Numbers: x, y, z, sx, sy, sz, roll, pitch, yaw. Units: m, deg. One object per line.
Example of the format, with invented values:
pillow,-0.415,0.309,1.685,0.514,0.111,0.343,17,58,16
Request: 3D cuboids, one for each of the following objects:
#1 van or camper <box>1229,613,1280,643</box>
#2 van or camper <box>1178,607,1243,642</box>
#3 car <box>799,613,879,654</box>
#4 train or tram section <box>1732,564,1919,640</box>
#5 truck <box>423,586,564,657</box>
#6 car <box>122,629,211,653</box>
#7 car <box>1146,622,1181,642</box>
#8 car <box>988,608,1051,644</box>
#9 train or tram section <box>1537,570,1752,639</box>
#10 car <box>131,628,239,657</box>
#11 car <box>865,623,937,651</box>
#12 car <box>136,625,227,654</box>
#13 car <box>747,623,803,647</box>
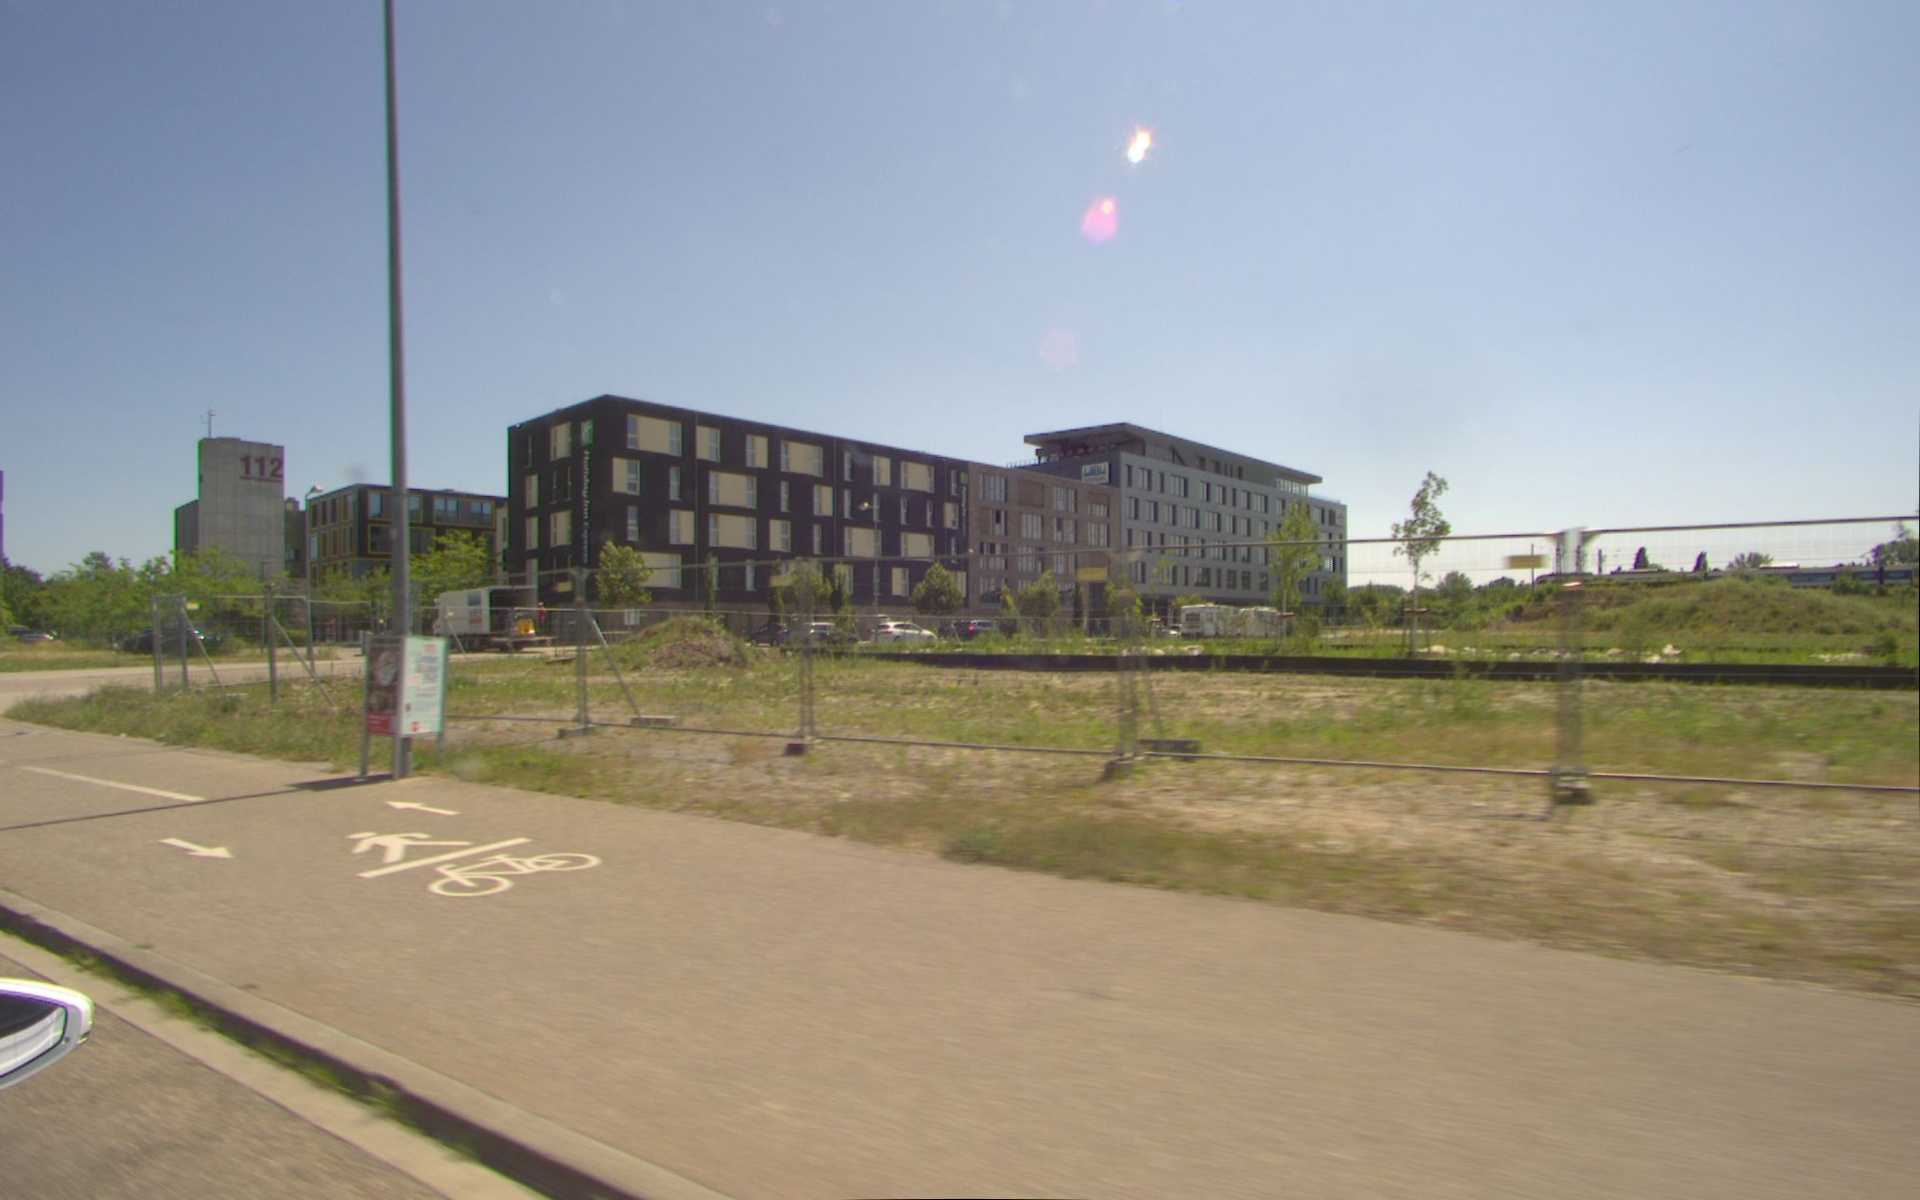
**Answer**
van or camper,26.585,2.533,90.209,2.377,2.567,5.392,-1,-2,42
van or camper,21.024,2.077,83.977,2.538,2.811,6.371,-1,-2,43
car,-6.317,1.755,52.642,3.878,2.039,1.863,1,-2,-44
train or tram section,131.208,0.312,133.043,9.501,10.052,44.389,1,-2,-41
truck,-25.735,1.183,54.803,12.016,3.507,2.990,-2,0,45
car,-50.013,2.554,63.165,1.937,1.463,4.100,-1,-2,37
car,19.431,3.084,95.591,1.774,1.741,3.395,-3,-4,42
car,3.680,1.630,61.695,1.861,2.038,3.884,-3,-4,43
train or tram section,108.160,1.108,159.311,9.499,10.052,26.771,1,-2,-41
car,-43.453,2.359,56.214,2.009,1.582,4.472,-1,-2,41
car,-3.321,2.088,56.985,1.730,1.577,4.010,-1,-2,43
car,-46.443,2.352,59.760,1.933,1.673,4.038,-1,-2,42
car,-11.699,2.227,63.320,3.542,1.472,1.681,-1,-2,42
